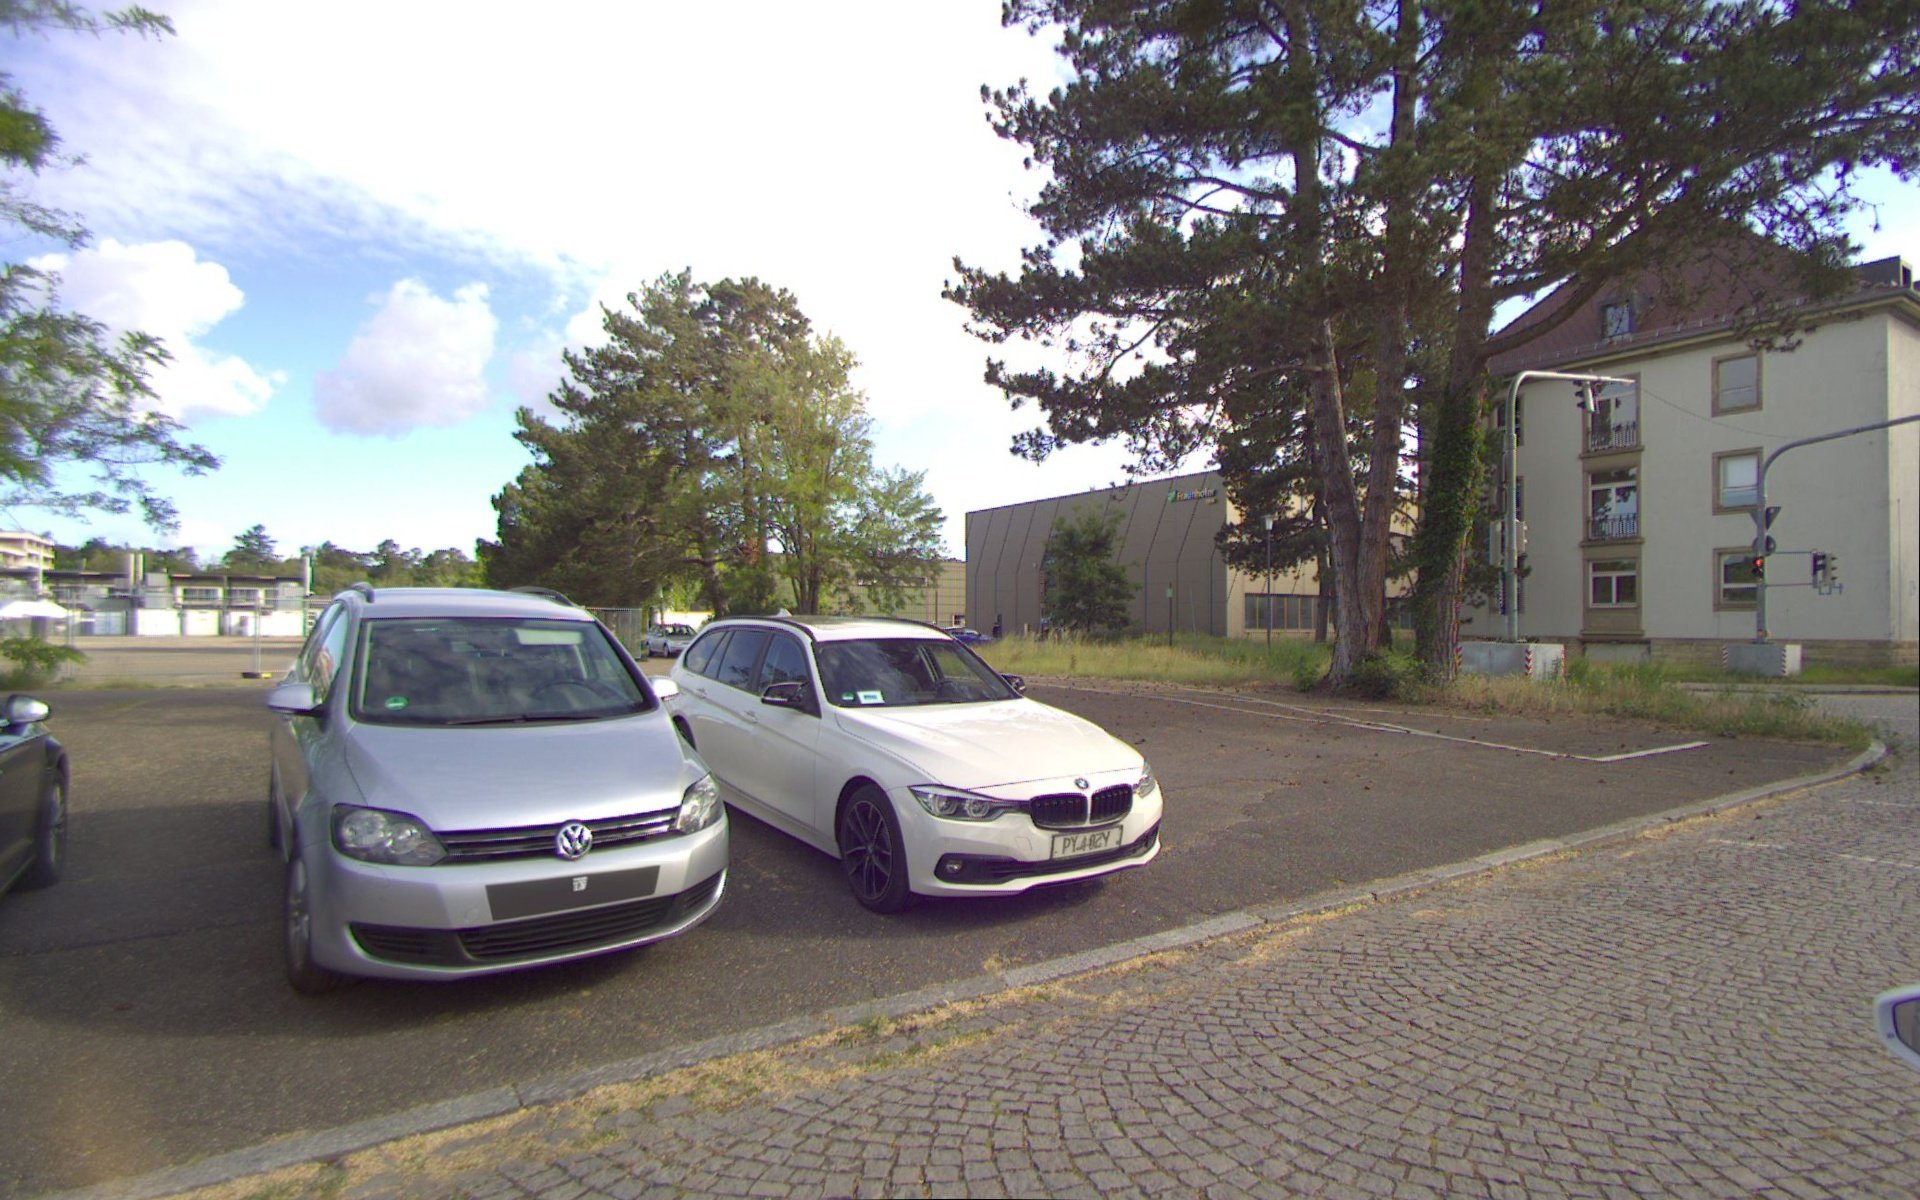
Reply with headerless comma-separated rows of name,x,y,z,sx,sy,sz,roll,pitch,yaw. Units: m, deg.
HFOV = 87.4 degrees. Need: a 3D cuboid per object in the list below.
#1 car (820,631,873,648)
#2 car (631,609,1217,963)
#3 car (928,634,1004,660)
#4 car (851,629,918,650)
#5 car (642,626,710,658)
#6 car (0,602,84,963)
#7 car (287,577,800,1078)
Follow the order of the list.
car,-8.168,2.823,72.318,3.623,1.217,1.319,1,-2,-30
car,-0.613,0.865,6.844,1.813,1.461,4.446,1,1,-36
car,0.350,2.684,58.149,4.083,1.433,1.750,1,-2,-30
car,-4.911,2.574,65.709,4.148,1.289,1.598,1,-2,-30
car,-12.295,1.784,43.400,1.577,1.355,3.703,1,-2,-38
car,-4.549,0.769,3.532,1.677,1.427,3.812,1,1,-33
car,-2.487,0.725,5.345,1.718,1.629,3.805,1,1,-35
